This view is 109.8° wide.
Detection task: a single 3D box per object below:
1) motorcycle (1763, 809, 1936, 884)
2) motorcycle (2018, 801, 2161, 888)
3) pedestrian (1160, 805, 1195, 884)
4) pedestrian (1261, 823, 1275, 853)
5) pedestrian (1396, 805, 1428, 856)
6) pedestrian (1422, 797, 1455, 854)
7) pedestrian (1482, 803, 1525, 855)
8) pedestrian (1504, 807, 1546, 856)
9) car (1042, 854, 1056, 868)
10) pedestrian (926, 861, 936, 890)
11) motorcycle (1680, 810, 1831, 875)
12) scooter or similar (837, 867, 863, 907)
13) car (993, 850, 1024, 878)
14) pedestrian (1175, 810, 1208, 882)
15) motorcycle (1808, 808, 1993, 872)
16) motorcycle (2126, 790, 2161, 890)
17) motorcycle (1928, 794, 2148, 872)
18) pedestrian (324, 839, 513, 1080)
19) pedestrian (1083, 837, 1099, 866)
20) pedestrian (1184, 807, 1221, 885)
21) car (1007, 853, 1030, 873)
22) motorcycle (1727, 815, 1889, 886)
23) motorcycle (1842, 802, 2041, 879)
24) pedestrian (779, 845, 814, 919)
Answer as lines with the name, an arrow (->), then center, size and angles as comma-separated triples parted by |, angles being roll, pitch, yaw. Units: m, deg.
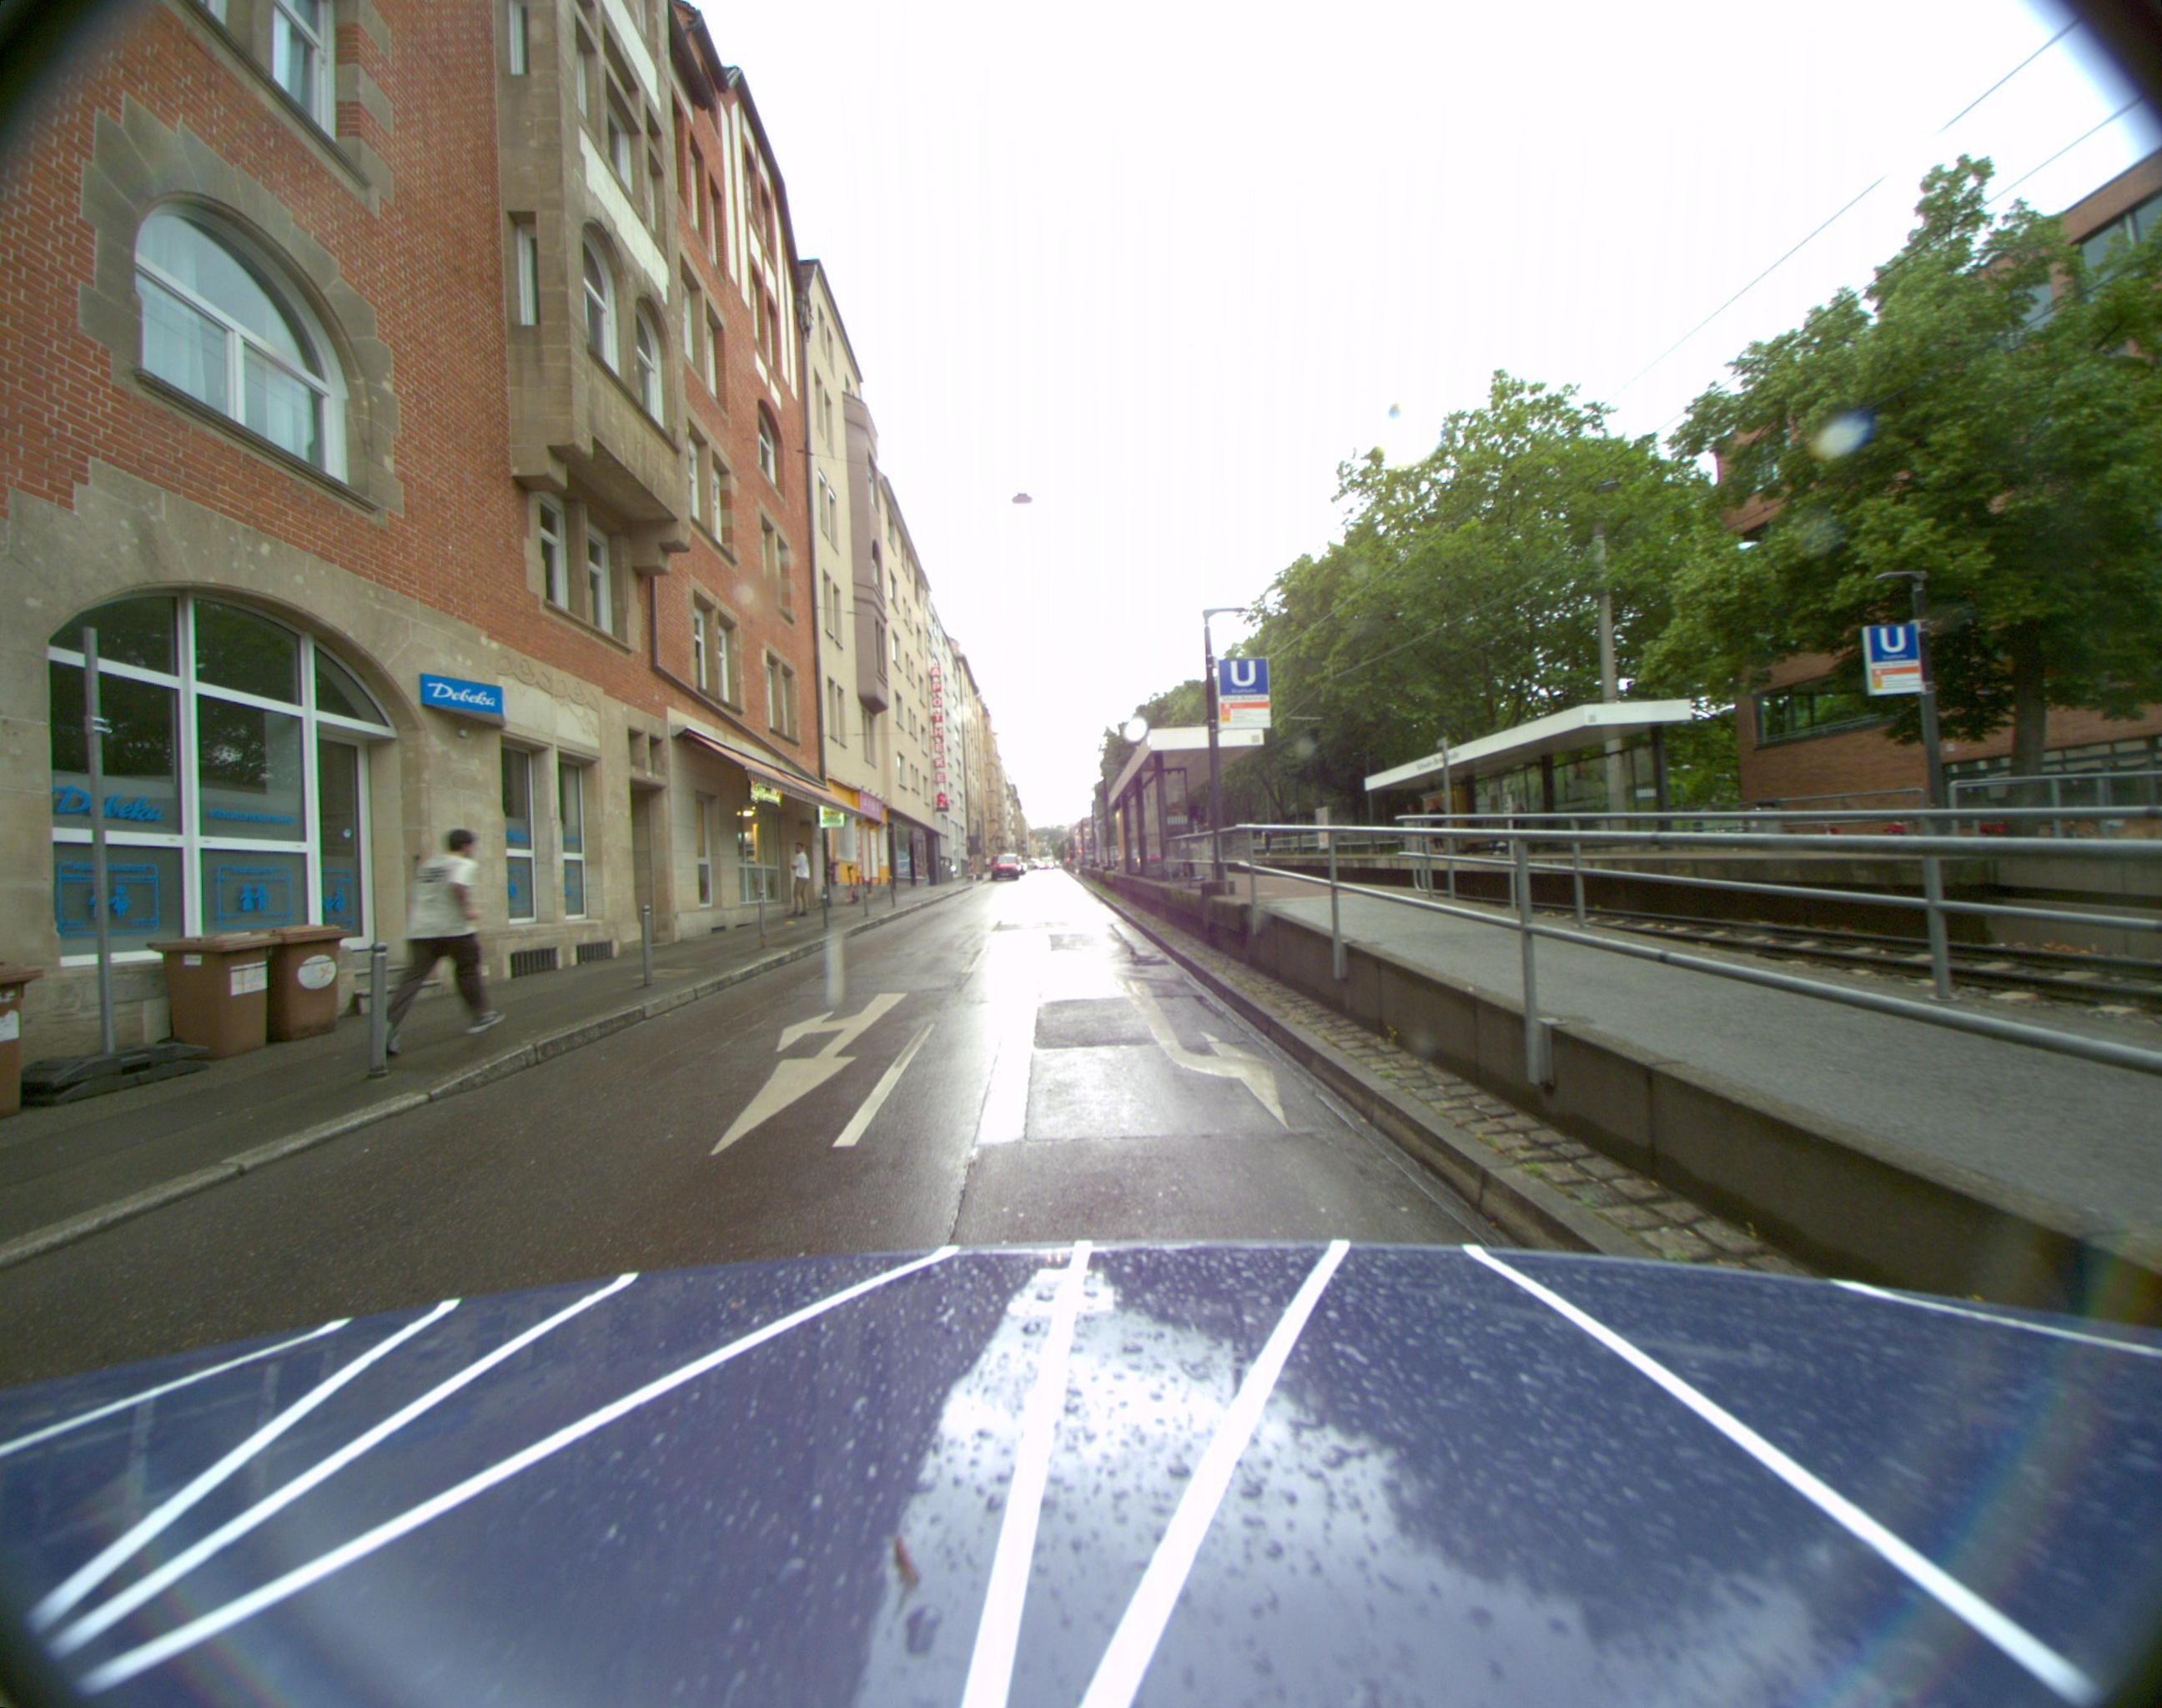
motorcycle -> 21.129, -0.219, 20.923 | 3.875, 1.805, 1.006 | -3, 1, -4
motorcycle -> 21.283, -0.227, 15.570 | 3.067, 1.618, 1.006 | -3, 1, -4
pedestrian -> 2.119, -0.209, 16.694 | 0.615, 1.678, 0.587 | -3, 1, 1
pedestrian -> 10.527, -0.898, 42.680 | 0.563, 1.631, 0.689 | -4, 0, 4
pedestrian -> 10.984, -0.788, 25.248 | 0.688, 1.631, 0.564 | -4, 0, -4
pedestrian -> 11.131, -0.867, 23.702 | 0.564, 1.705, 0.705 | -4, 0, -4
pedestrian -> 11.595, -0.668, 20.851 | 0.779, 1.354, 0.564 | -4, 0, -4
pedestrian -> 11.826, -0.593, 20.239 | 0.705, 1.233, 0.564 | -4, 0, -4
car -> -4.009, 0.879, 94.211 | 1.621, 1.592, 4.066 | -2, -1, -2
pedestrian -> -8.523, 1.209, 43.190 | 0.482, 1.635, 0.331 | -4, 1, -13
motorcycle -> 20.903, -0.356, 23.583 | 3.875, 1.763, 1.006 | -3, 1, -4
scooter or similar -> -7.228, 1.012, 23.801 | 0.258, 1.214, 1.195 | -3, -1, 7
car -> -5.164, 0.676, 54.853 | 1.980, 1.827, 5.243 | -3, 0, -4
pedestrian -> 2.499, -0.179, 17.262 | 0.615, 1.572, 0.507 | -3, 1, 1
motorcycle -> 21.196, -0.364, 19.693 | 3.875, 1.399, 1.006 | -3, 1, -4
motorcycle -> 21.143, -0.340, 13.834 | 3.045, 1.805, 0.993 | -3, 1, -4
motorcycle -> 21.316, -0.456, 16.969 | 3.875, 1.479, 1.006 | -3, 1, -4
pedestrian -> -5.150, 0.769, 5.971 | 0.686, 1.743, 0.836 | -2, 1, -1
pedestrian -> 0.645, -0.160, 49.280 | 0.861, 1.788, 0.787 | -3, 0, -3
pedestrian -> 2.528, -0.170, 15.832 | 0.615, 1.572, 0.507 | -3, 1, 1
car -> -5.801, 0.841, 70.837 | 1.770, 1.698, 4.498 | -3, 0, -1
motorcycle -> 21.086, -0.106, 22.071 | 3.875, 1.805, 1.006 | -3, 1, -4
motorcycle -> 20.882, -0.329, 18.482 | 3.875, 1.596, 1.006 | -3, 1, -4
pedestrian -> -7.125, 0.681, 19.030 | 0.562, 1.820, 0.580 | 1, 2, 30
